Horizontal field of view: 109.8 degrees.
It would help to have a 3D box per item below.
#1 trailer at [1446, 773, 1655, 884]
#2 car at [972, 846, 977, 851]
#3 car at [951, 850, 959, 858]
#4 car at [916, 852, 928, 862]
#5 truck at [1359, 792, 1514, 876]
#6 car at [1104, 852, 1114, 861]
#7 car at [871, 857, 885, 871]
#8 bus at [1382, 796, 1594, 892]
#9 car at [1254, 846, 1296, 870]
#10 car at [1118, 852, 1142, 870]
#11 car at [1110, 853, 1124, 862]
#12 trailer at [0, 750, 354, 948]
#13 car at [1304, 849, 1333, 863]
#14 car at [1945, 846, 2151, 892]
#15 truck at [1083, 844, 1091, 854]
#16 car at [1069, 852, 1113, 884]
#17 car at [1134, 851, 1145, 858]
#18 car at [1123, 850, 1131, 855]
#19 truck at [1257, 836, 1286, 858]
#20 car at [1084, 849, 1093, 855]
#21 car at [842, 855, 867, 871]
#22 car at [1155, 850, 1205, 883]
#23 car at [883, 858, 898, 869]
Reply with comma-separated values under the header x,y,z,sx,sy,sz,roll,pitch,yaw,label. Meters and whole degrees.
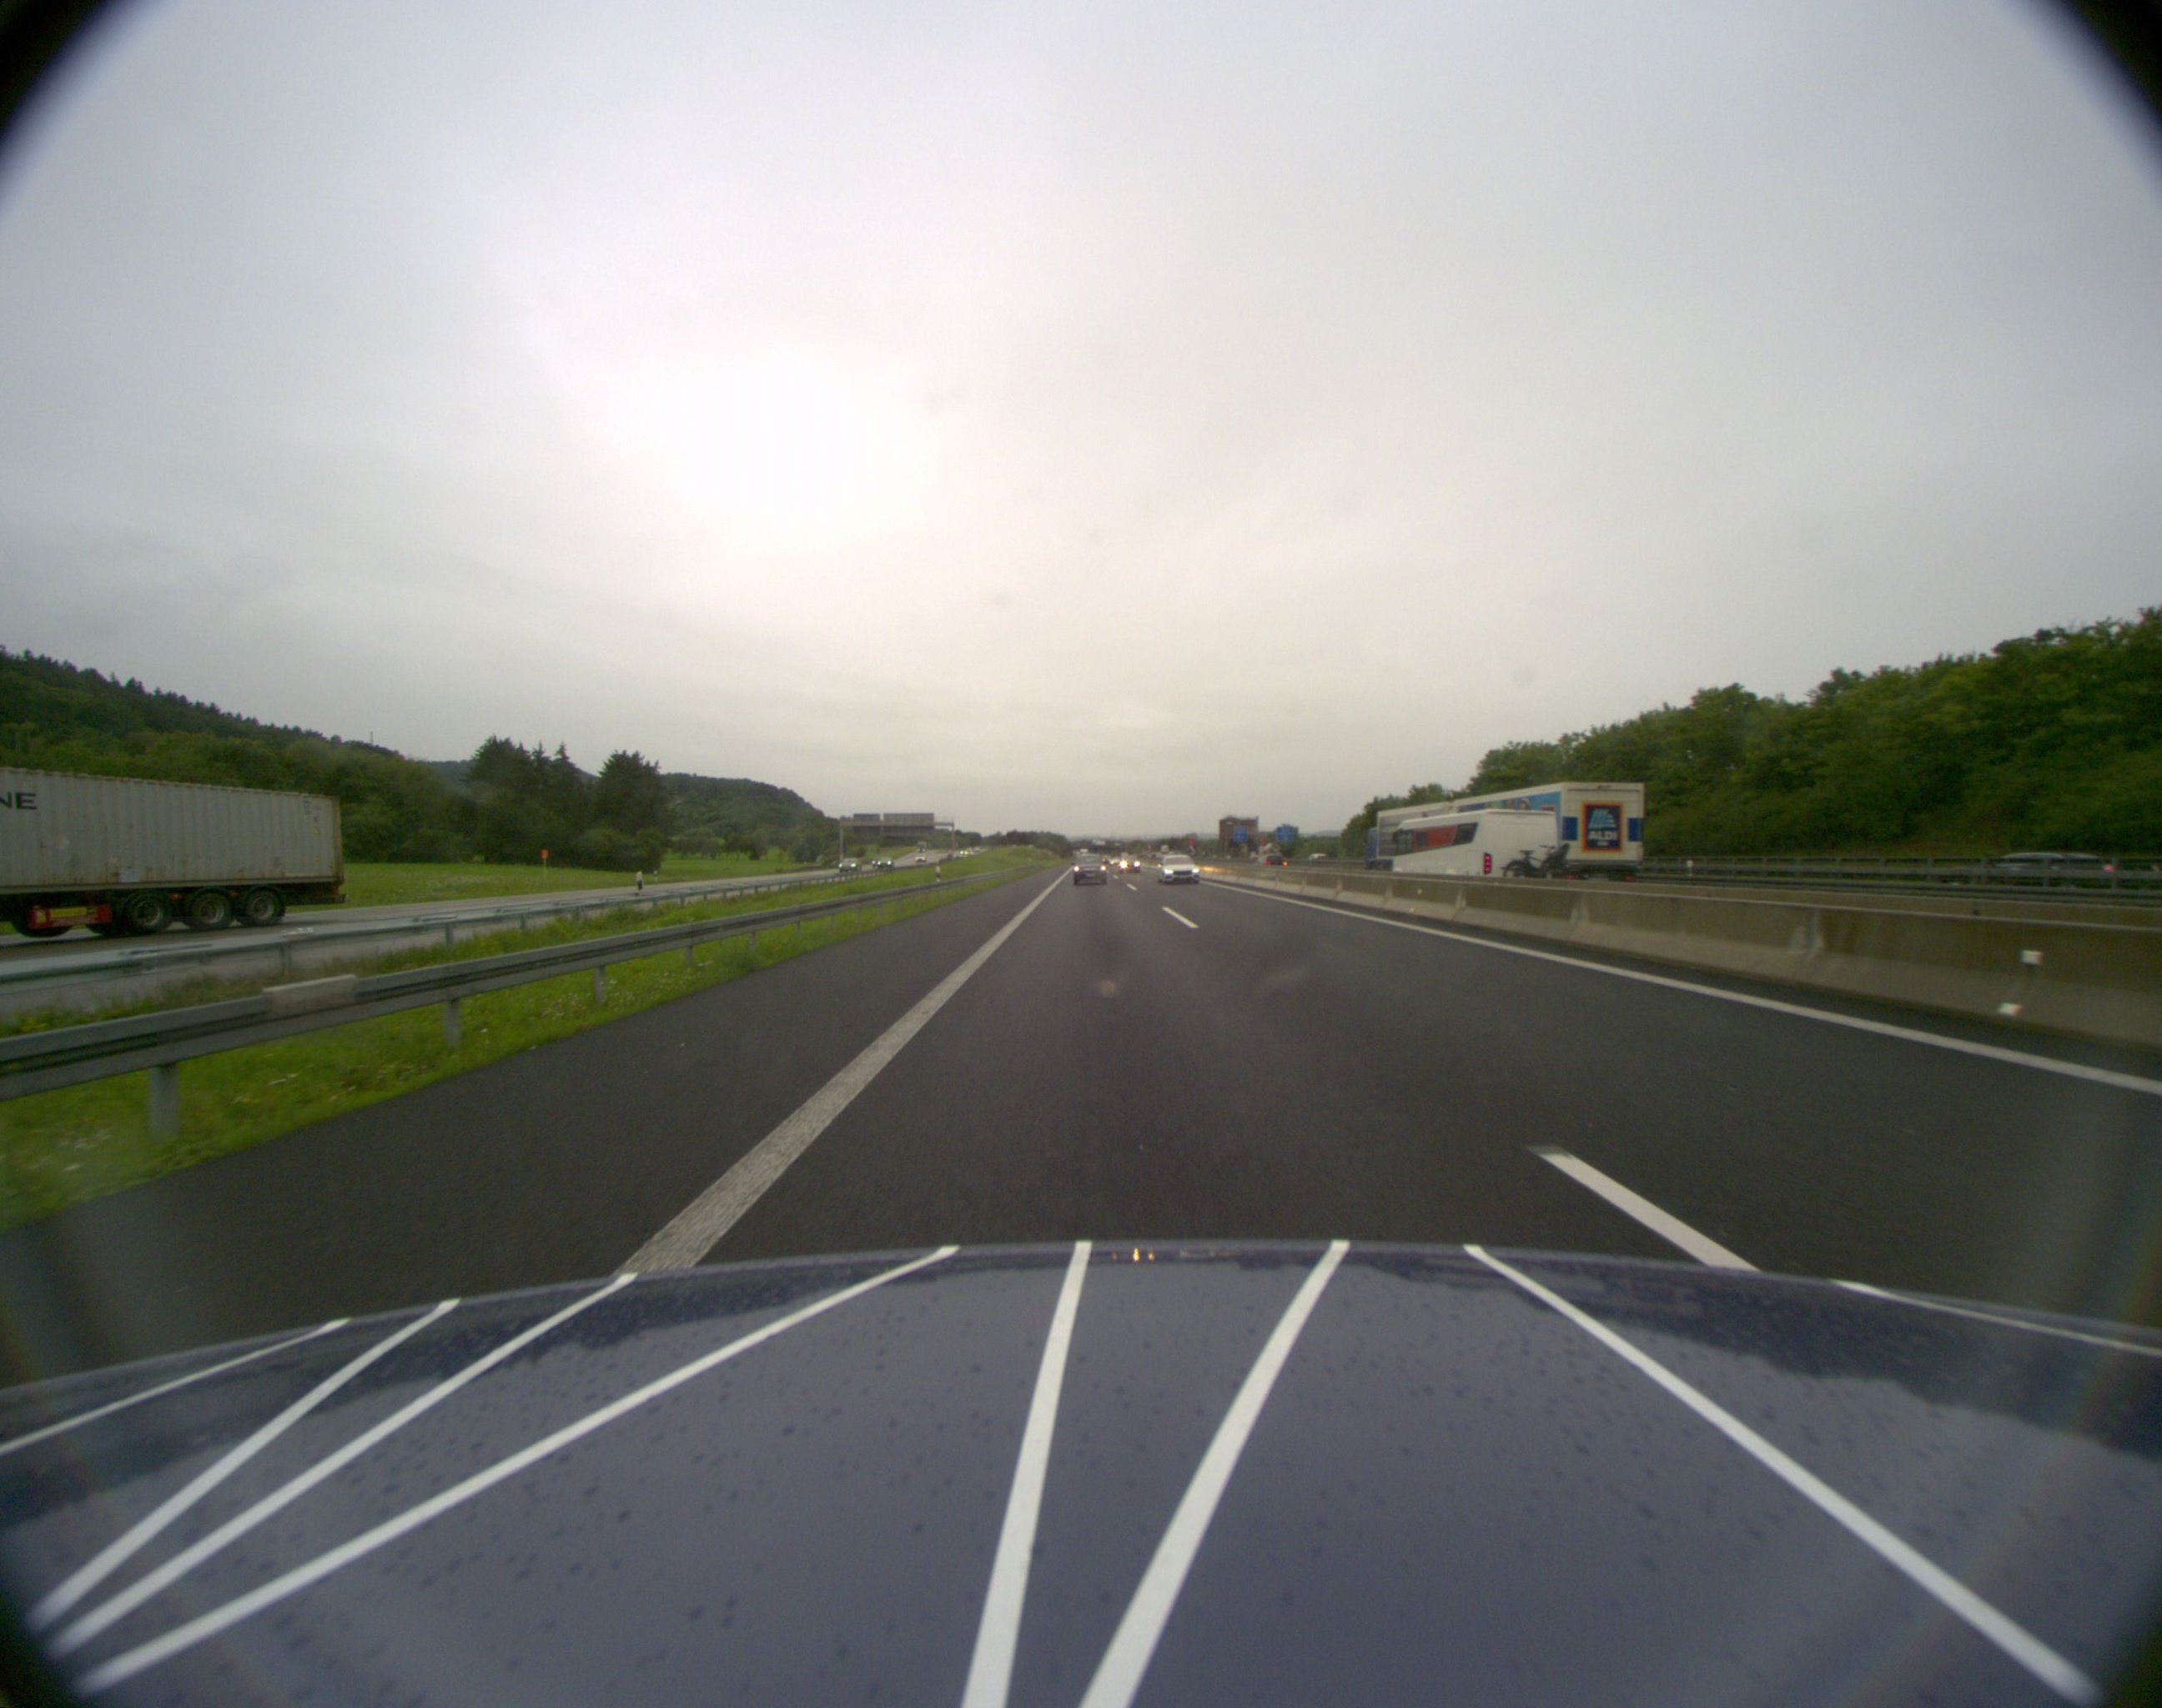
x,y,z,sx,sy,sz,roll,pitch,yaw,label
17.316,-0.855,28.911,2.950,3.496,8.051,-3,1,1,trailer
-35.792,-1.721,254.607,1.585,1.543,3.997,-3,1,-9,car
-36.679,-0.027,221.339,1.734,2.002,3.999,-3,1,0,car
-33.447,0.669,160.197,1.999,2.002,3.998,-1,0,-4,car
17.411,-0.912,38.364,2.815,3.504,10.640,-3,0,1,truck
5.654,0.493,154.072,1.998,1.565,4.000,-3,0,1,car
-32.141,1.574,120.350,1.654,2.002,3.996,-1,0,-10,car
13.123,-0.309,25.536,2.547,2.571,8.269,-3,0,-1,bus
13.745,0.297,54.098,1.998,1.608,4.000,-1,0,0,car
4.210,0.602,65.831,1.835,1.417,4.368,-1,0,2,car
5.580,0.501,118.111,1.942,1.341,4.000,-2,0,0,car
-22.976,-0.057,16.841,2.498,3.961,12.399,-3,0,-5,trailer
29.004,0.229,92.854,1.999,1.727,4.582,-1,0,-1,car
31.656,0.451,25.082,1.537,1.361,4.114,-1,0,-1,car
2.116,-1.651,260.508,2.728,3.098,7.960,-3,0,1,truck
0.590,0.697,41.225,2.242,1.565,4.817,-2,0,2,car
14.142,0.058,183.654,1.999,1.641,5.026,-3,0,-1,car
14.938,-0.389,248.272,2.363,1.683,5.907,-1,0,1,car
33.544,-1.212,134.108,2.692,3.640,9.556,-1,0,0,truck
1.871,-0.509,188.328,1.942,1.341,4.000,-3,0,1,car
-25.611,0.948,86.121,2.000,1.710,4.315,-1,0,-7,car
5.105,0.609,39.783,1.998,1.582,4.816,-1,0,1,car
-27.562,1.372,109.934,1.752,1.499,3.996,-3,1,-10,car
